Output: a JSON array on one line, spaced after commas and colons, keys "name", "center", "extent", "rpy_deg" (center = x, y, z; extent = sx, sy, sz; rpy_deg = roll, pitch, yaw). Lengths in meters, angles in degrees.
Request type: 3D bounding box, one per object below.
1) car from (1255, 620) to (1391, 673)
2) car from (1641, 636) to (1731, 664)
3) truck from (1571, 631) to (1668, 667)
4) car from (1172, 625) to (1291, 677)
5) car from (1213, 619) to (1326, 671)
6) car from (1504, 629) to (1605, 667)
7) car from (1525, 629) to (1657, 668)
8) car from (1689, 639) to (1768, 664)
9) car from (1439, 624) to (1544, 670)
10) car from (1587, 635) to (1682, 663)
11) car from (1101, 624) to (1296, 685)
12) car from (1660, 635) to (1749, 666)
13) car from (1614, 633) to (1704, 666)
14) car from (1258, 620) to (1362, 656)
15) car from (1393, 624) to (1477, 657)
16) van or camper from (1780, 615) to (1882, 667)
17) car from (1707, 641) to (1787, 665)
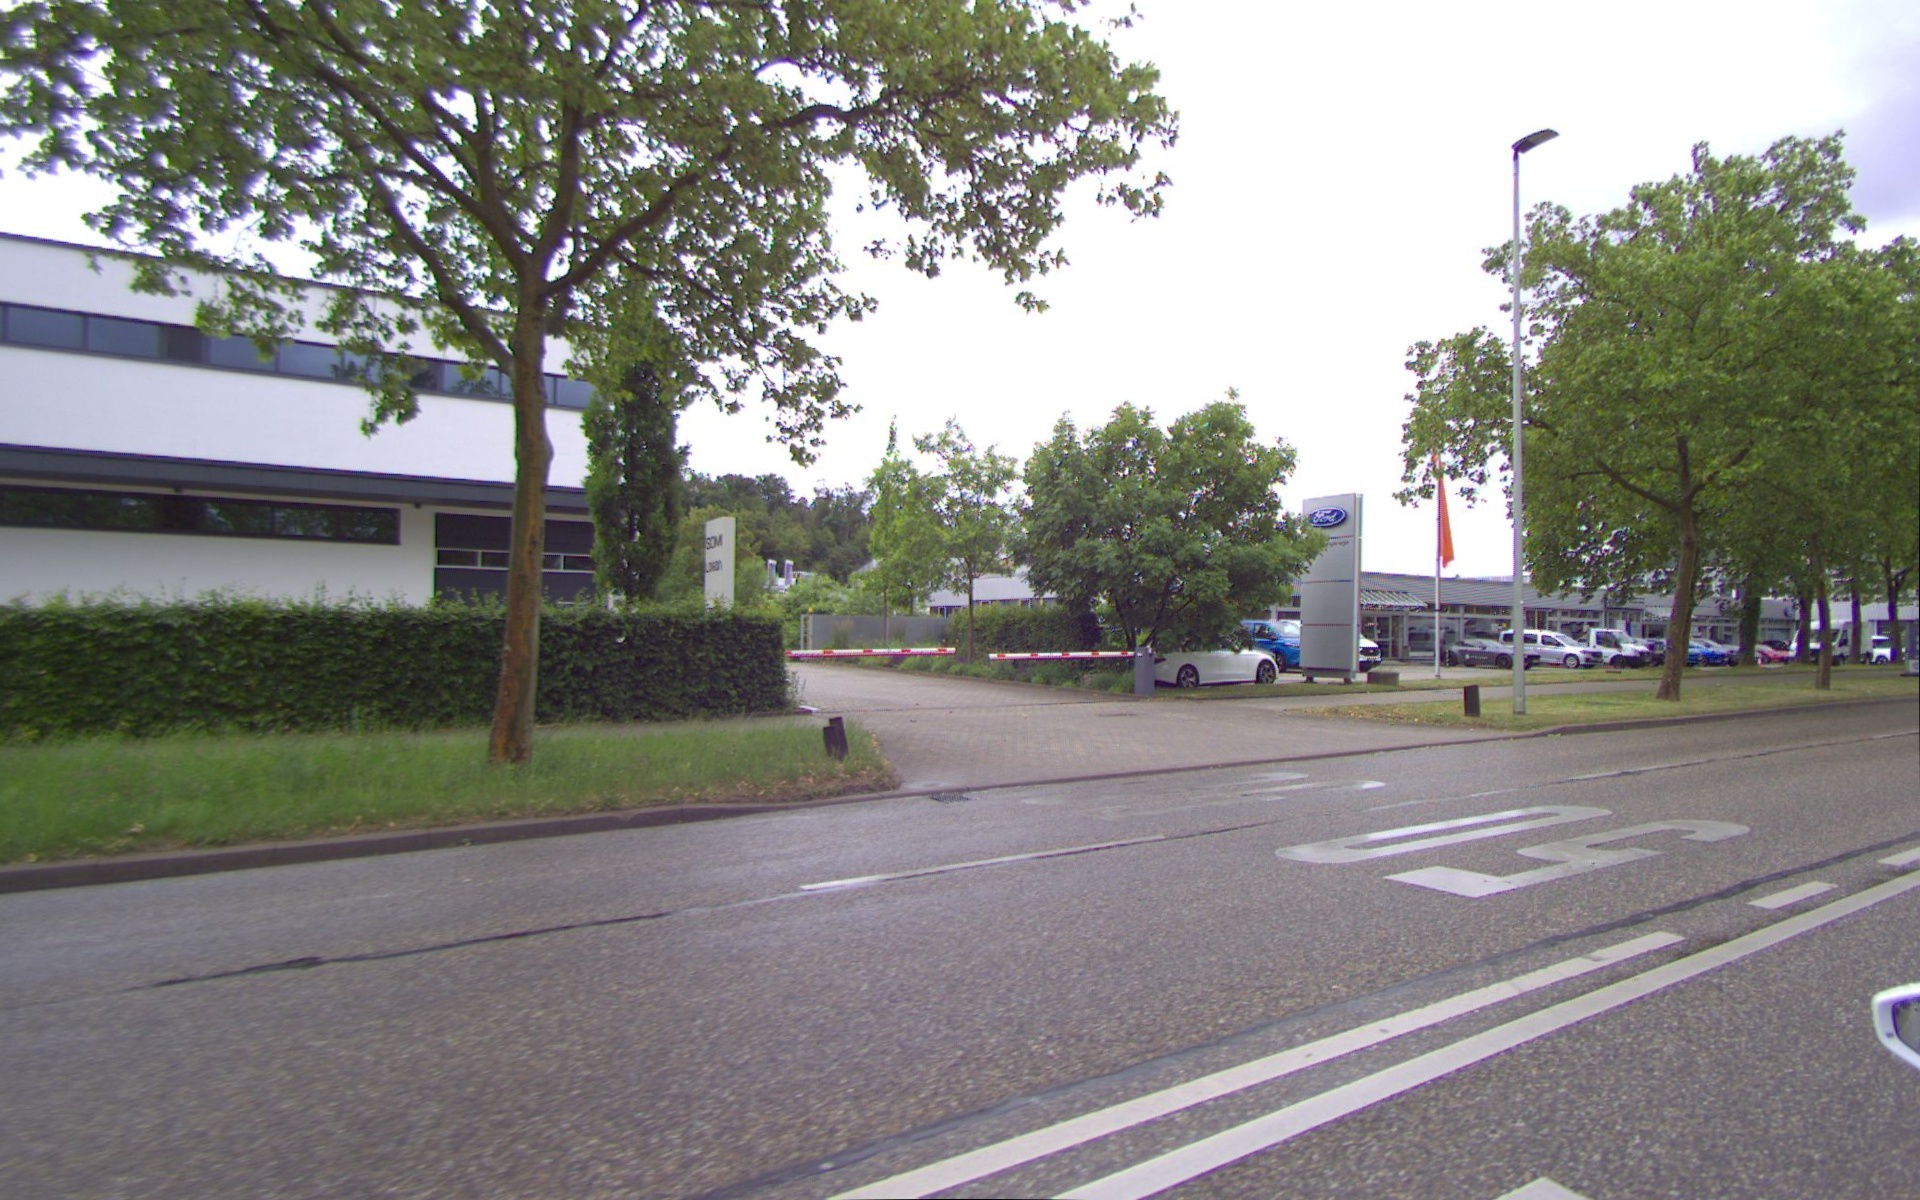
[{"name": "car", "center": [14.689, 1.844, 40.959], "extent": [2.106, 2.040, 5.018], "rpy_deg": [1, -2, -32]}, {"name": "car", "center": [42.186, 2.871, 58.453], "extent": [1.834, 1.540, 3.988], "rpy_deg": [1, -2, -15]}, {"name": "truck", "center": [35.570, 2.593, 54.234], "extent": [1.983, 1.862, 3.955], "rpy_deg": [2, -2, -39]}, {"name": "car", "center": [10.069, 1.863, 37.555], "extent": [2.040, 1.837, 4.109], "rpy_deg": [1, -2, -29]}, {"name": "car", "center": [11.939, 1.706, 38.999], "extent": [1.939, 1.914, 3.970], "rpy_deg": [1, -2, -29]}, {"name": "car", "center": [29.781, 2.365, 50.423], "extent": [1.862, 1.790, 3.965], "rpy_deg": [1, -2, -32]}, {"name": "car", "center": [32.811, 2.492, 52.360], "extent": [2.390, 1.928, 5.344], "rpy_deg": [1, -2, -33]}, {"name": "car", "center": [49.619, 3.307, 64.946], "extent": [1.574, 1.487, 3.893], "rpy_deg": [1, -2, -18]}, {"name": "car", "center": [24.794, 2.171, 46.989], "extent": [1.862, 2.040, 3.965], "rpy_deg": [1, -2, -32]}, {"name": "car", "center": [37.672, 2.714, 56.222], "extent": [2.008, 1.480, 3.973], "rpy_deg": [1, -2, -27]}, {"name": "car", "center": [6.474, 1.432, 27.082], "extent": [5.188, 1.516, 2.107], "rpy_deg": [1, -2, -32]}, {"name": "car", "center": [44.306, 2.970, 59.867], "extent": [1.833, 1.790, 3.989], "rpy_deg": [1, -2, -14]}, {"name": "car", "center": [39.851, 2.773, 57.348], "extent": [1.834, 1.790, 3.988], "rpy_deg": [1, -2, -15]}, {"name": "car", "center": [20.108, 2.156, 57.781], "extent": [5.258, 1.862, 2.385], "rpy_deg": [0, -1, 33]}, {"name": "car", "center": [26.827, 2.262, 56.853], "extent": [1.844, 1.790, 3.966], "rpy_deg": [1, -2, -32]}, {"name": "van or camper", "center": [44.180, 2.057, 50.882], "extent": [6.326, 2.503, 1.984], "rpy_deg": [1, 0, -30]}, {"name": "car", "center": [52.097, 3.461, 66.572], "extent": [1.574, 1.487, 3.985], "rpy_deg": [1, -2, -18]}]
